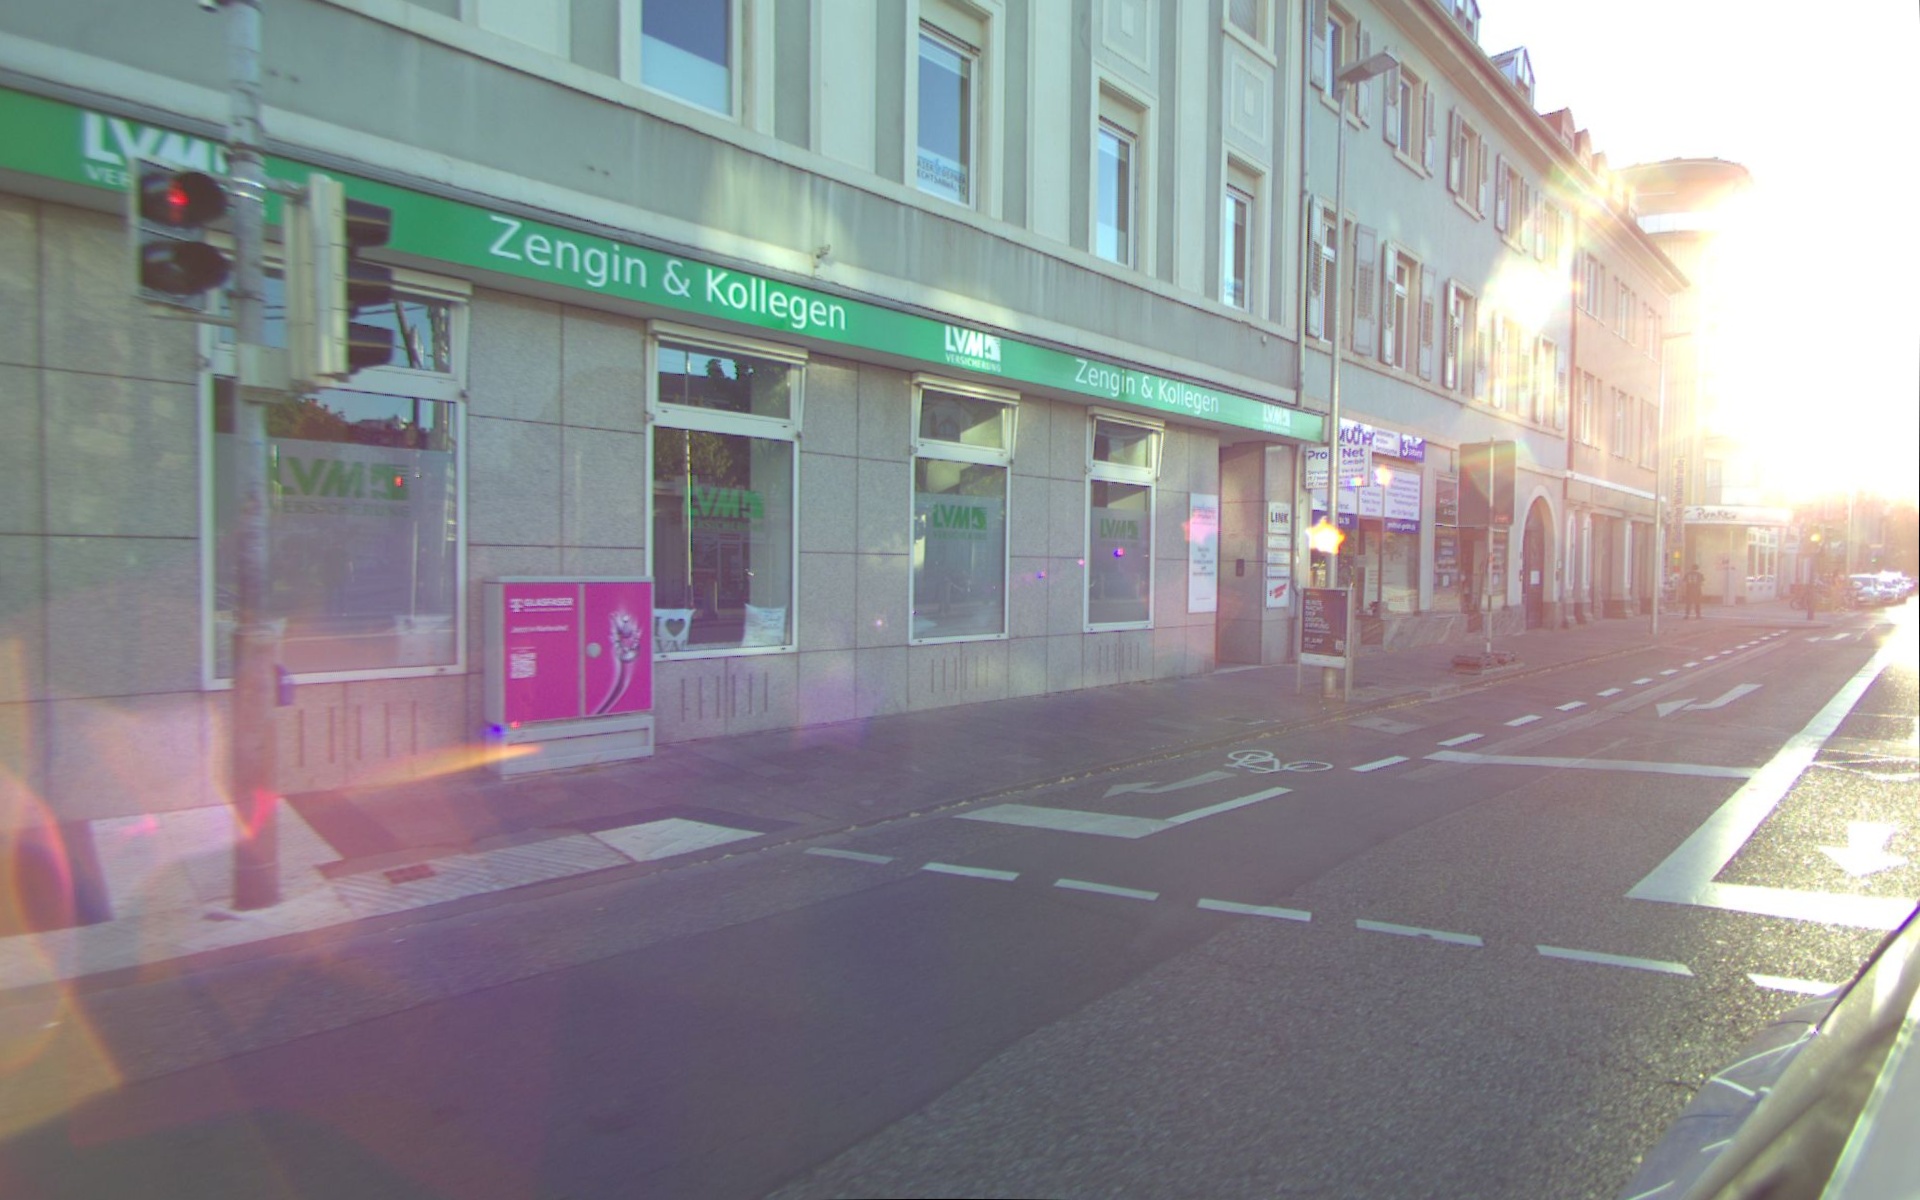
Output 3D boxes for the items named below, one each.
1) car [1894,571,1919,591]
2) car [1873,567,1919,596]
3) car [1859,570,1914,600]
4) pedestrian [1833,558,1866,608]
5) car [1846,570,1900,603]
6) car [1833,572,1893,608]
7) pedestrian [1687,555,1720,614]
[{"bbox_3d":[78.650,-1.577,83.716,1.993,1.566,4.440,0,2,43],"label":"car"},{"bbox_3d":[55.489,-1.115,59.835,4.436,1.667,1.995,-2,2,-44],"label":"car"},{"bbox_3d":[51.244,-0.833,55.961,4.436,1.566,1.995,-2,2,-44],"label":"car"},{"bbox_3d":[32.044,-0.618,36.457,0.840,1.768,0.690,0,1,45],"label":"pedestrian"},{"bbox_3d":[47.261,-0.711,52.365,1.993,1.566,4.440,0,2,43],"label":"car"},{"bbox_3d":[42.716,-0.510,47.827,1.993,1.566,4.440,0,2,43],"label":"car"},{"bbox_3d":[23.205,-0.493,31.600,0.667,1.805,0.715,3,4,29],"label":"pedestrian"}]
